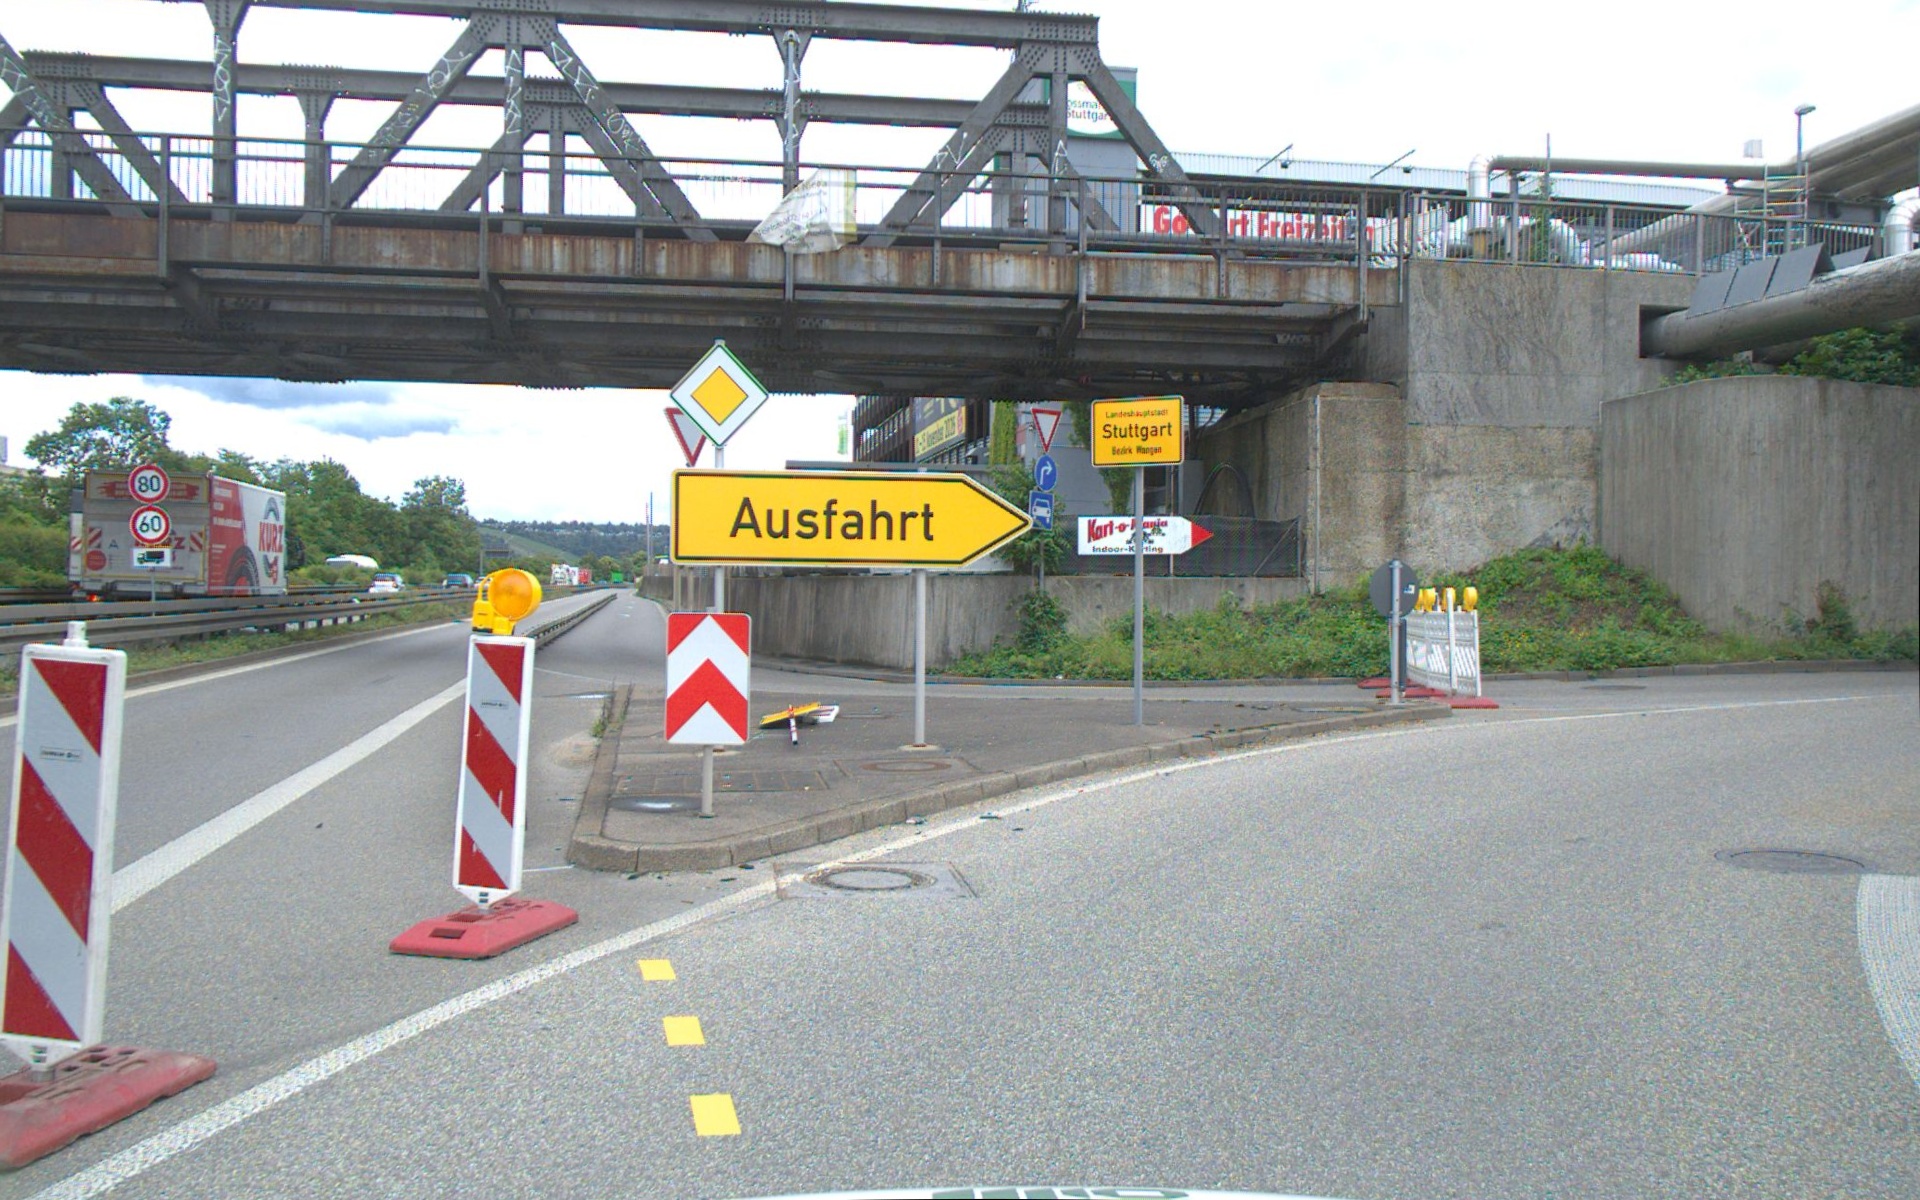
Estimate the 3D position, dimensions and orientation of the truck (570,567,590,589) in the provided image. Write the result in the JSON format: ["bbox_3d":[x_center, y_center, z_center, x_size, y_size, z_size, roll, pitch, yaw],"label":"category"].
[{"bbox_3d":[-57.905,-3.332,252.278,2.633,3.195,6.117,2,0,-10],"label":"truck"}]

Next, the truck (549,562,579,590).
[{"bbox_3d":[-56.097,-3.386,234.315,3.652,3.709,7.709,1,0,-10],"label":"truck"}]

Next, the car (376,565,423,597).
[{"bbox_3d":[-31.975,-1.091,94.437,1.958,1.790,3.990,0,0,-11],"label":"car"}]

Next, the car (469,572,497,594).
[{"bbox_3d":[-42.648,-1.507,147.853,1.958,1.847,3.990,1,0,-11],"label":"car"}]

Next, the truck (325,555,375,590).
[{"bbox_3d":[-53.383,-2.365,144.856,2.450,2.896,7.241,2,0,-7],"label":"truck"}]

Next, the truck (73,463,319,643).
[{"bbox_3d":[-17.824,-1.047,39.434,2.900,3.692,10.127,1,1,-11],"label":"truck"}]

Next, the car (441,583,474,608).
[{"bbox_3d":[-36.534,-0.297,120.312,1.958,1.790,3.988,0,0,-12],"label":"car"}]

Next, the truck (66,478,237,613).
[{"bbox_3d":[-23.519,-1.476,48.549,2.944,3.618,7.712,0,0,-14],"label":"truck"}]

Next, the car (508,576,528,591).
[{"bbox_3d":[-49.152,-1.885,183.936,1.747,1.624,3.741,1,0,-10],"label":"car"}]
